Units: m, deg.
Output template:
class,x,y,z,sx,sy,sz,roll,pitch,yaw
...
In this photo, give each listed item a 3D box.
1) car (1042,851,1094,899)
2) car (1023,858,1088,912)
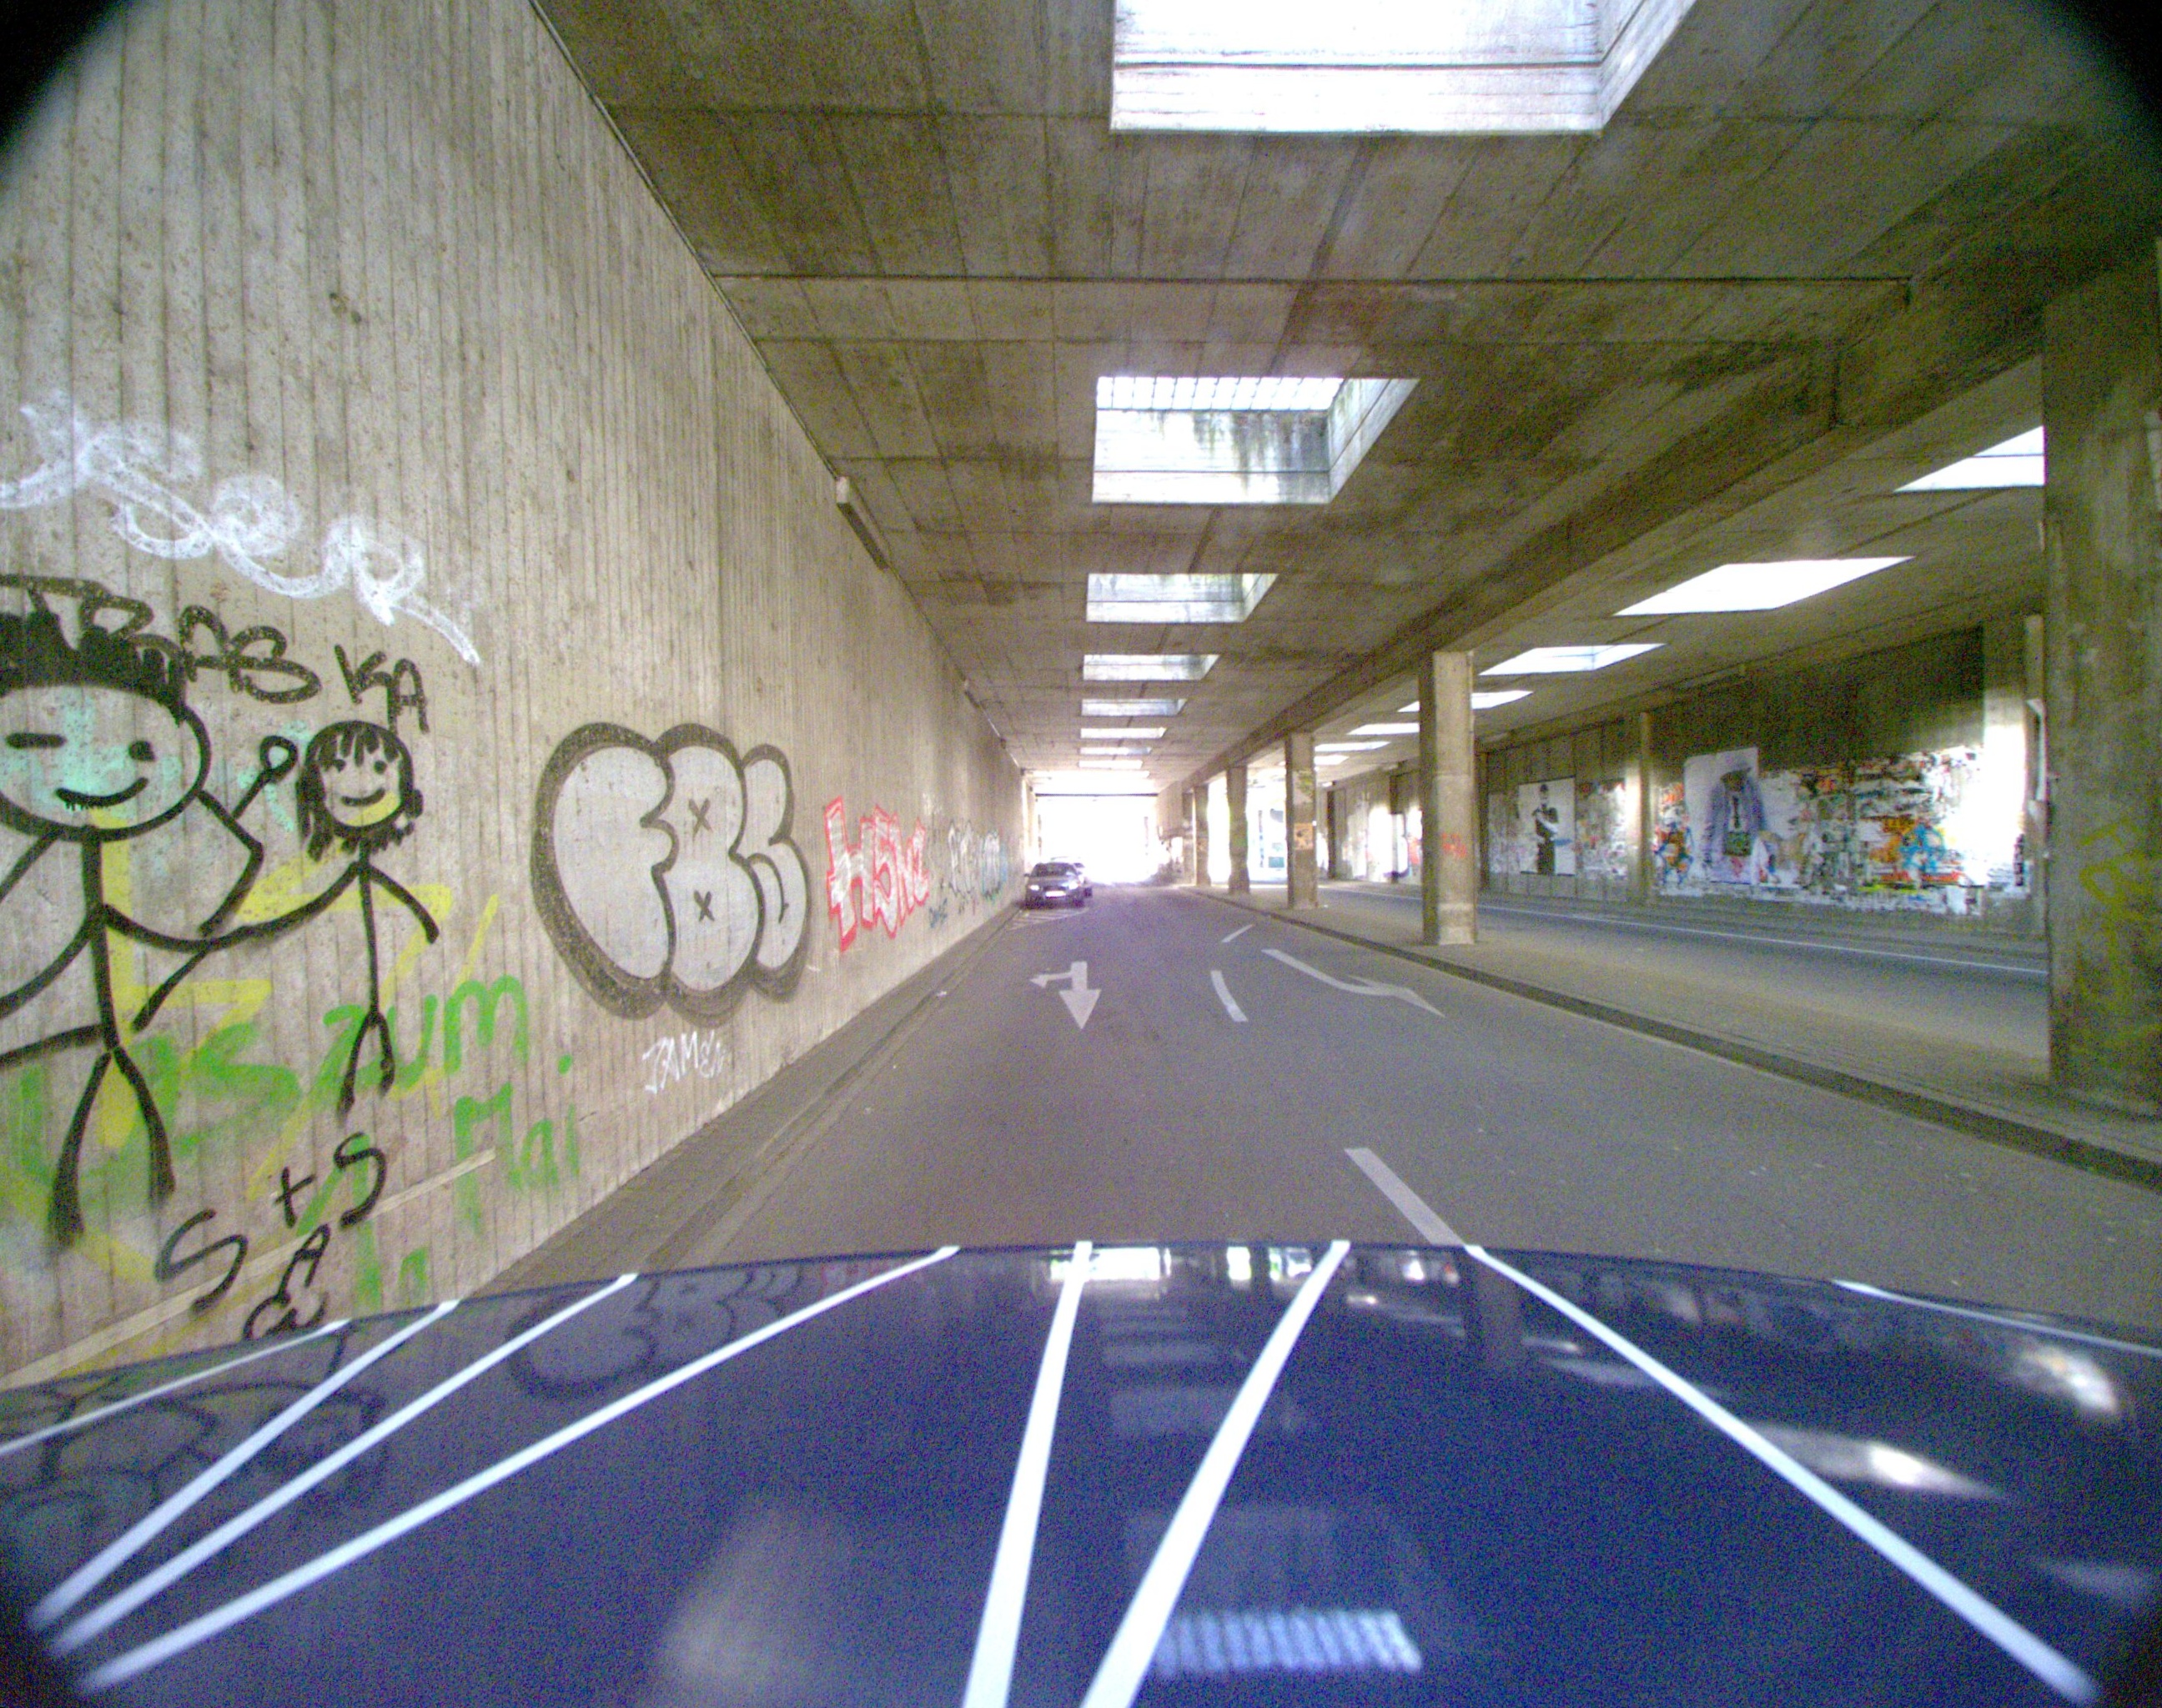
class,x,y,z,sx,sy,sz,roll,pitch,yaw
car,-0.444,0.752,29.746,1.861,1.709,4.000,-2,0,1
car,-0.727,0.911,24.072,1.808,1.460,4.000,-2,0,1
